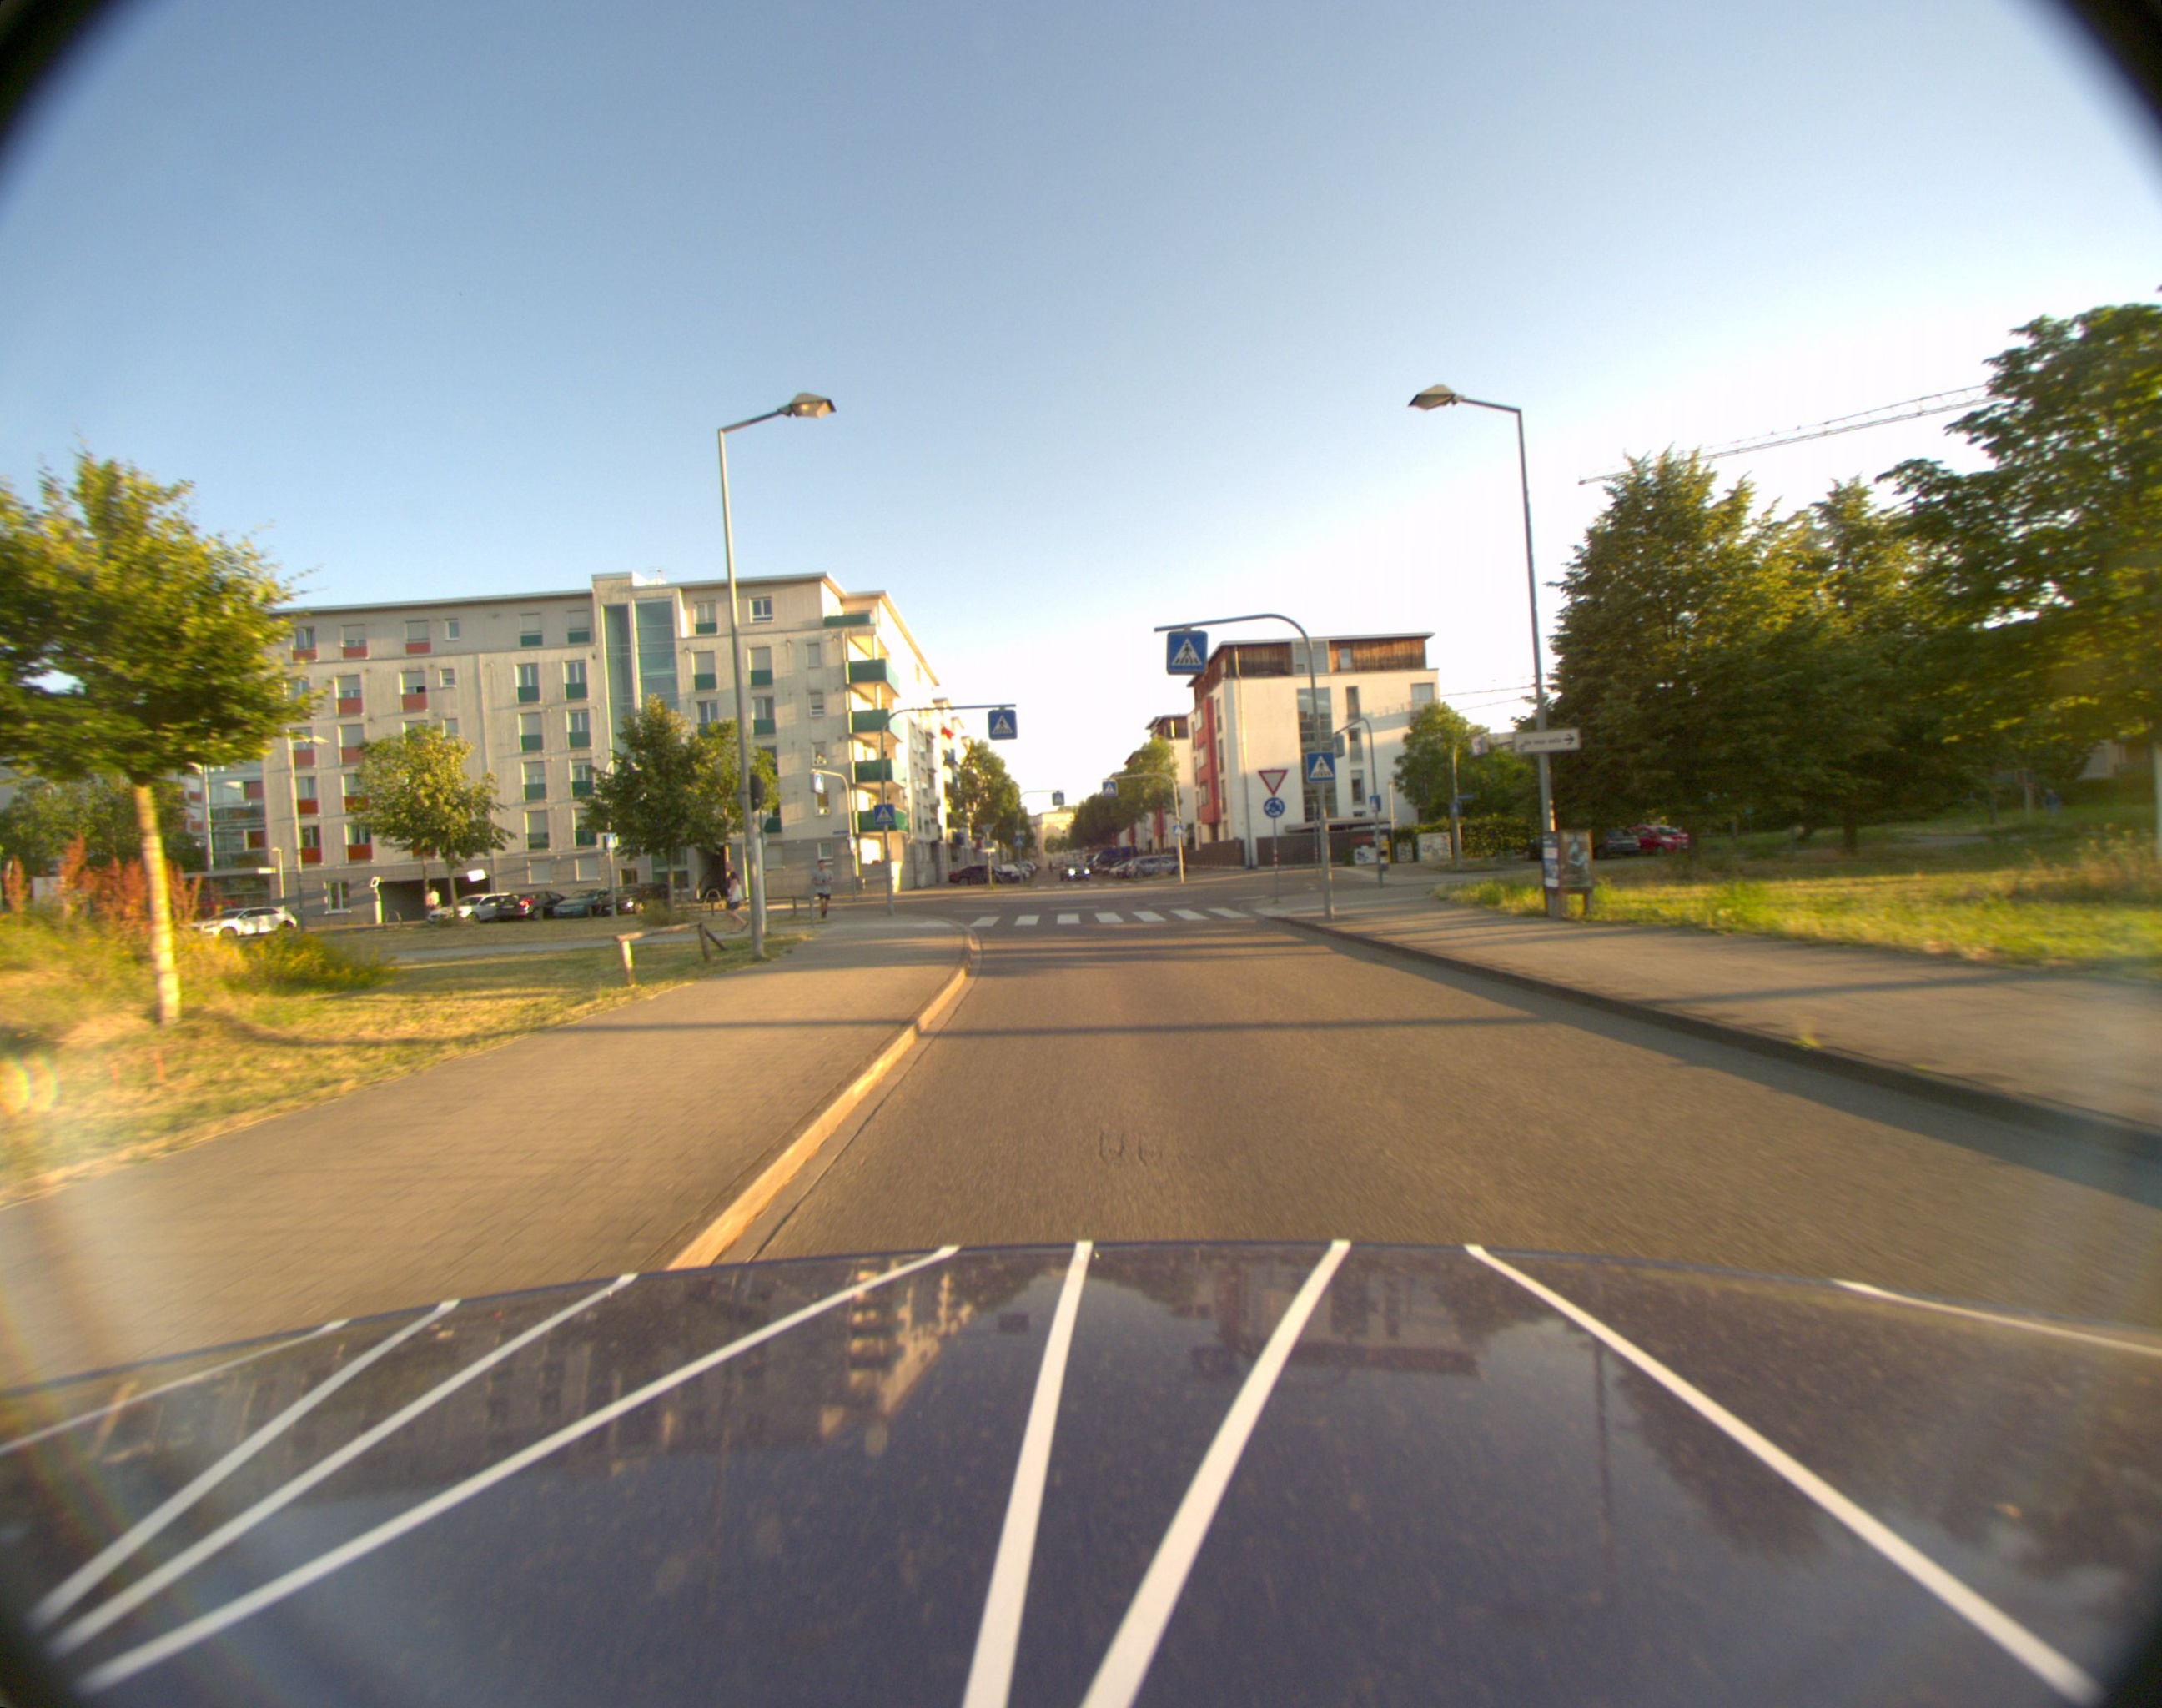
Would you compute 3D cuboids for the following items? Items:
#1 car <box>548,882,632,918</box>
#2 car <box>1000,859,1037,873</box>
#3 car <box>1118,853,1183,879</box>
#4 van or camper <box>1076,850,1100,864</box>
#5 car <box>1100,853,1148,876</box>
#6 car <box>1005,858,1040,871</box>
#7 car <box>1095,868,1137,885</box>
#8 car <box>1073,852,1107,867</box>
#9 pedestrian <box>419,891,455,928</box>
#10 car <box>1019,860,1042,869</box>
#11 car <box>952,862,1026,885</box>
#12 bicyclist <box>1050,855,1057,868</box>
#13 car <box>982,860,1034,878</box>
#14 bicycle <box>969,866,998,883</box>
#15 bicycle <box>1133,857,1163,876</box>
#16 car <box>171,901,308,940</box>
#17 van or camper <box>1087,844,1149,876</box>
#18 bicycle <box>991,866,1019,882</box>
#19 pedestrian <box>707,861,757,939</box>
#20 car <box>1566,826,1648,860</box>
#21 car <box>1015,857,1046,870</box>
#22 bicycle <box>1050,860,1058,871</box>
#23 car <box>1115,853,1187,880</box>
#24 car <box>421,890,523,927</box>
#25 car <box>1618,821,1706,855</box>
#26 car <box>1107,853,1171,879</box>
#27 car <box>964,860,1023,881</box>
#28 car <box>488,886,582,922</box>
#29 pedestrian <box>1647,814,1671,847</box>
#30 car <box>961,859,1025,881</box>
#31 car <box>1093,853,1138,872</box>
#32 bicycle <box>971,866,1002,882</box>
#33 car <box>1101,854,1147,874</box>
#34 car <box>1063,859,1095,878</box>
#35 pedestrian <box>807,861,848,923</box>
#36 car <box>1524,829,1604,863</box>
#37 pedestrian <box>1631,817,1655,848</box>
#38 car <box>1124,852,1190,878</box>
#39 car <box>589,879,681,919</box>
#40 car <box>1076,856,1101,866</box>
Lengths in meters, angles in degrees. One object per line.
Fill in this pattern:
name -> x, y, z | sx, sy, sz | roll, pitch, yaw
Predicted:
car -> -24.445, 2.257, 38.006 | 1.558, 1.366, 4.004 | -4, 2, -1
car -> -7.365, 1.409, 89.722 | 4.251, 1.527, 1.692 | -1, 0, -1
car -> 5.304, 0.933, 58.270 | 4.785, 1.546, 1.711 | -5, 0, 1
van or camper -> 1.266, 0.548, 135.586 | 4.252, 2.520, 1.760 | -1, 0, -2
car -> 3.827, 0.935, 68.112 | 3.920, 1.700, 1.723 | -4, 0, -7
car -> -7.375, 1.289, 95.534 | 4.251, 1.527, 1.692 | -1, 0, -1
car -> 3.562, 2.291, 78.358 | 4.103, 1.616, 1.723 | -1, 0, -7
car -> 1.115, 0.701, 98.588 | 4.252, 1.919, 1.692 | -1, 0, -3
pedestrian -> -35.017, 2.990, 41.320 | 1.049, 1.883, 0.980 | -4, 0, 1
car -> -9.540, 2.019, 143.064 | 4.251, 1.629, 1.692 | -1, 0, -1
car -> -6.287, 1.350, 52.429 | 4.887, 1.449, 1.938 | -1, 0, 0
bicyclist -> -3.370, 0.958, 94.020 | 0.767, 1.618, 0.663 | -4, 0, -4
car -> -6.235, 1.259, 65.064 | 4.295, 1.499, 1.685 | -1, 0, -6
bicycle -> -6.320, 1.312, 49.222 | 1.793, 1.035, 0.567 | -1, -1, -6
bicycle -> 4.405, 0.813, 50.117 | 1.822, 1.060, 0.567 | -7, 0, -5
car -> -41.780, 3.278, 37.907 | 1.700, 1.512, 4.468 | -4, -1, 1
van or camper -> 4.081, 0.673, 83.613 | 6.316, 3.069, 2.441 | -4, 0, -7
bicycle -> -4.998, 1.308, 49.924 | 1.840, 1.065, 0.473 | -1, -1, -6
pedestrian -> -8.380, 1.091, 18.295 | 0.734, 1.773, 0.802 | -4, 0, -1
car -> 25.836, -0.515, 37.427 | 1.593, 1.491, 3.410 | -4, 1, 0
car -> -7.175, 1.378, 108.703 | 4.251, 1.768, 1.692 | -1, 0, -1
bicycle -> -3.346, 1.395, 94.047 | 0.772, 1.259, 1.781 | -4, -1, -4
car -> 5.073, 0.903, 55.487 | 4.916, 1.469, 1.710 | -5, 0, -4
car -> -29.716, 2.622, 37.252 | 1.700, 1.471, 4.056 | -4, -1, -1
car -> 28.276, -0.765, 37.094 | 1.593, 1.491, 3.410 | -4, 1, 0
car -> 4.614, 0.953, 61.032 | 4.761, 1.575, 1.758 | -5, 0, -6
car -> -6.565, 1.234, 57.571 | 4.294, 1.485, 1.742 | -1, 0, -3
car -> -27.036, 2.456, 37.821 | 1.700, 1.471, 4.056 | -4, -1, -1
pedestrian -> 30.490, -1.252, 40.084 | 0.744, 1.657, 0.623 | -5, 1, -16
car -> -6.345, 1.165, 55.082 | 4.412, 1.499, 1.743 | -1, 0, 1
car -> 3.340, 0.822, 74.844 | 4.103, 1.616, 1.723 | -4, 0, -7
bicycle -> -6.238, 1.334, 50.281 | 2.035, 1.040, 0.473 | -1, -1, -6
car -> 4.002, 0.915, 70.391 | 3.920, 1.506, 1.723 | -4, 0, -7
car -> -0.208, 1.161, 60.546 | 1.778, 1.454, 4.175 | -1, -1, -10
pedestrian -> -7.330, 1.078, 21.994 | 0.801, 1.719, 0.768 | -4, 0, 5
car -> 23.790, -0.402, 37.584 | 1.690, 1.513, 3.410 | -4, 1, 0
pedestrian -> 30.362, -1.144, 41.023 | 0.713, 1.590, 0.656 | -5, 1, -19
car -> 5.284, 0.789, 52.950 | 4.292, 1.449, 1.680 | -4, 0, -4
car -> -21.837, 2.152, 37.422 | 1.832, 1.479, 4.479 | -4, 2, -1
car -> 1.270, 1.193, 127.806 | 4.251, 1.629, 1.692 | -1, 0, -1
